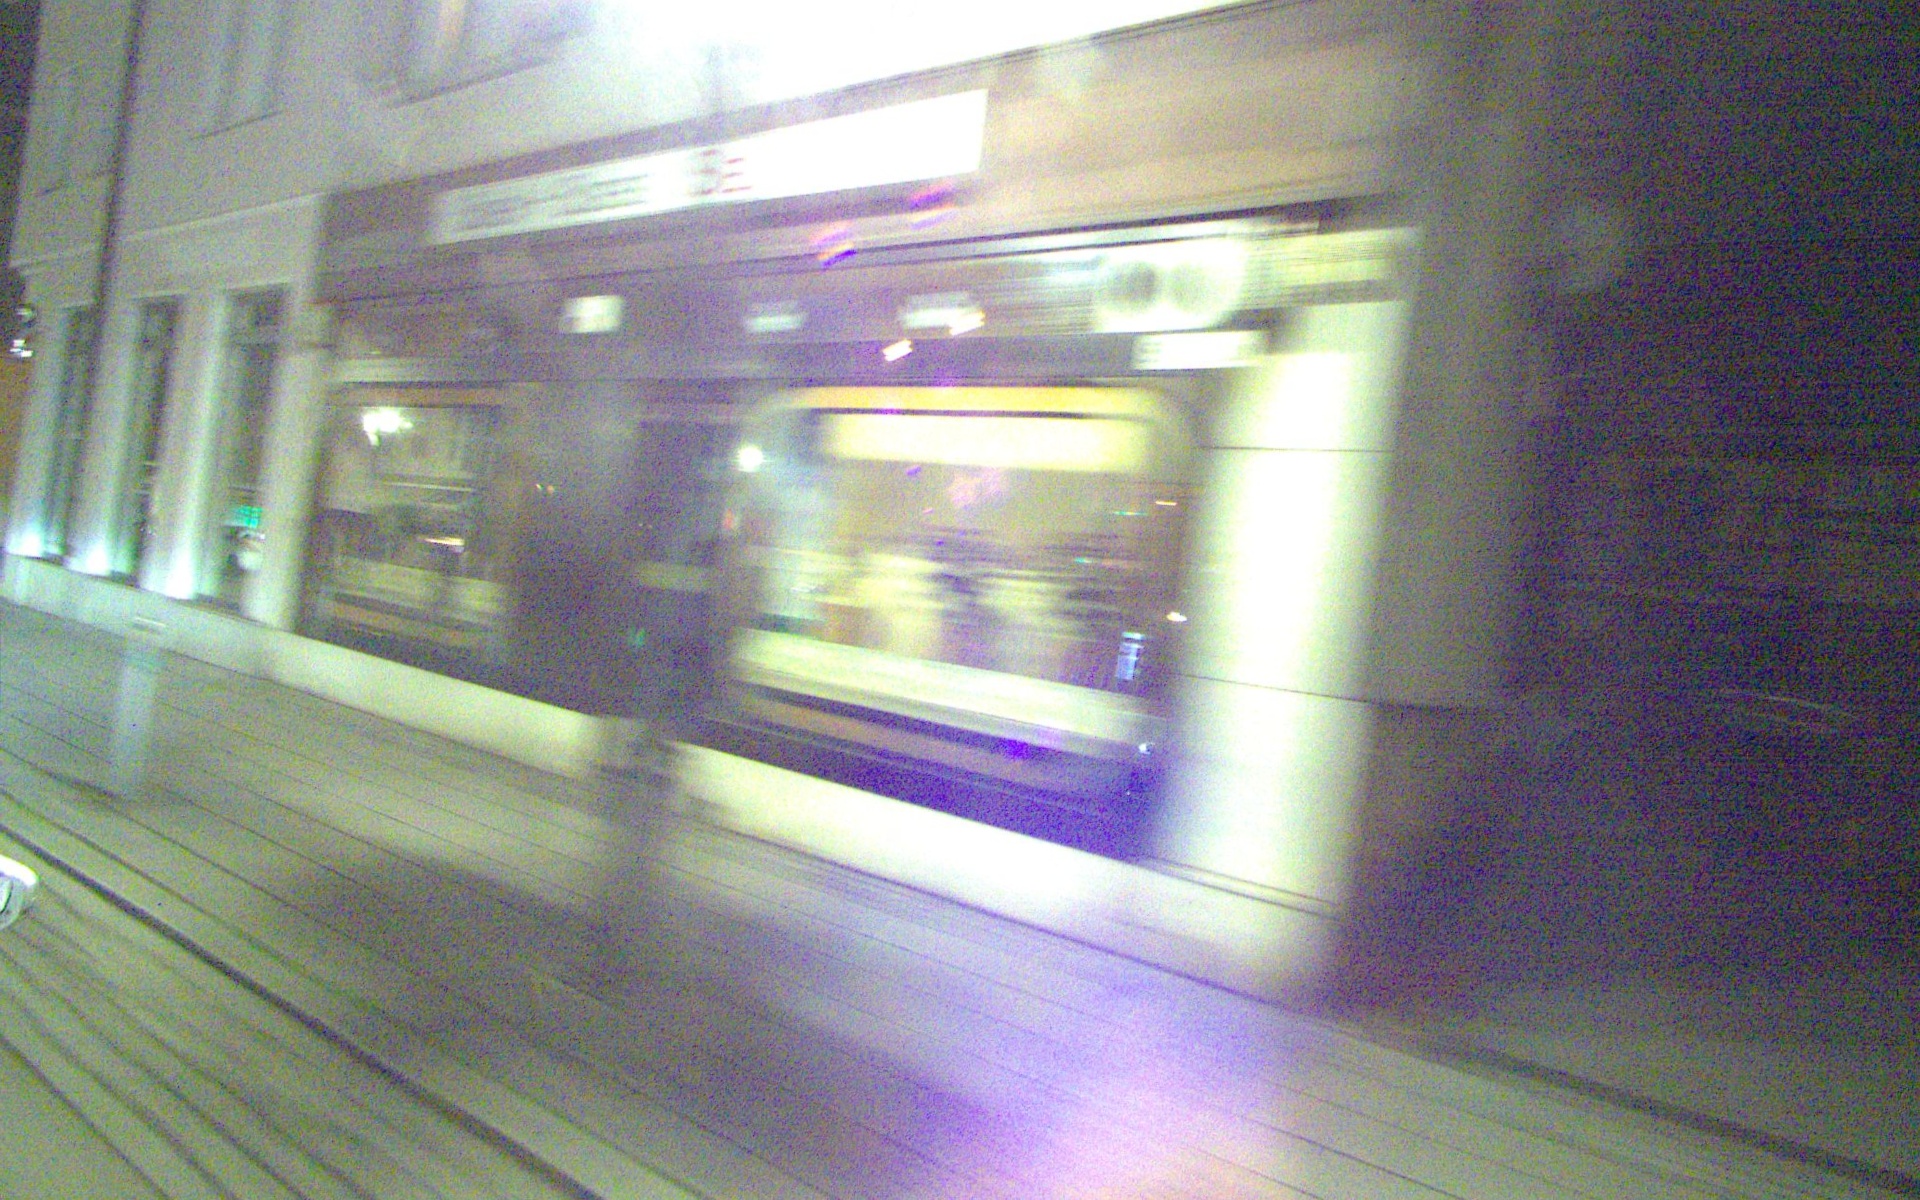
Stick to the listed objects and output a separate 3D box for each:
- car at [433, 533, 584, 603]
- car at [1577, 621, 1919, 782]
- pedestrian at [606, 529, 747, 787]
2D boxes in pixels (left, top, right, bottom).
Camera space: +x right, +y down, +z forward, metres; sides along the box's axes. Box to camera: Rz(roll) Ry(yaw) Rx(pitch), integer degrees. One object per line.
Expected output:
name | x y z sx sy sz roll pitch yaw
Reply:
car | -13.708 -0.941 30.756 1.634 1.607 3.857 7 0 31
car | 12.511 1.491 15.881 4.514 1.732 1.860 8 4 33
pedestrian | -1.823 0.370 6.483 0.473 1.565 0.501 7 -1 38
